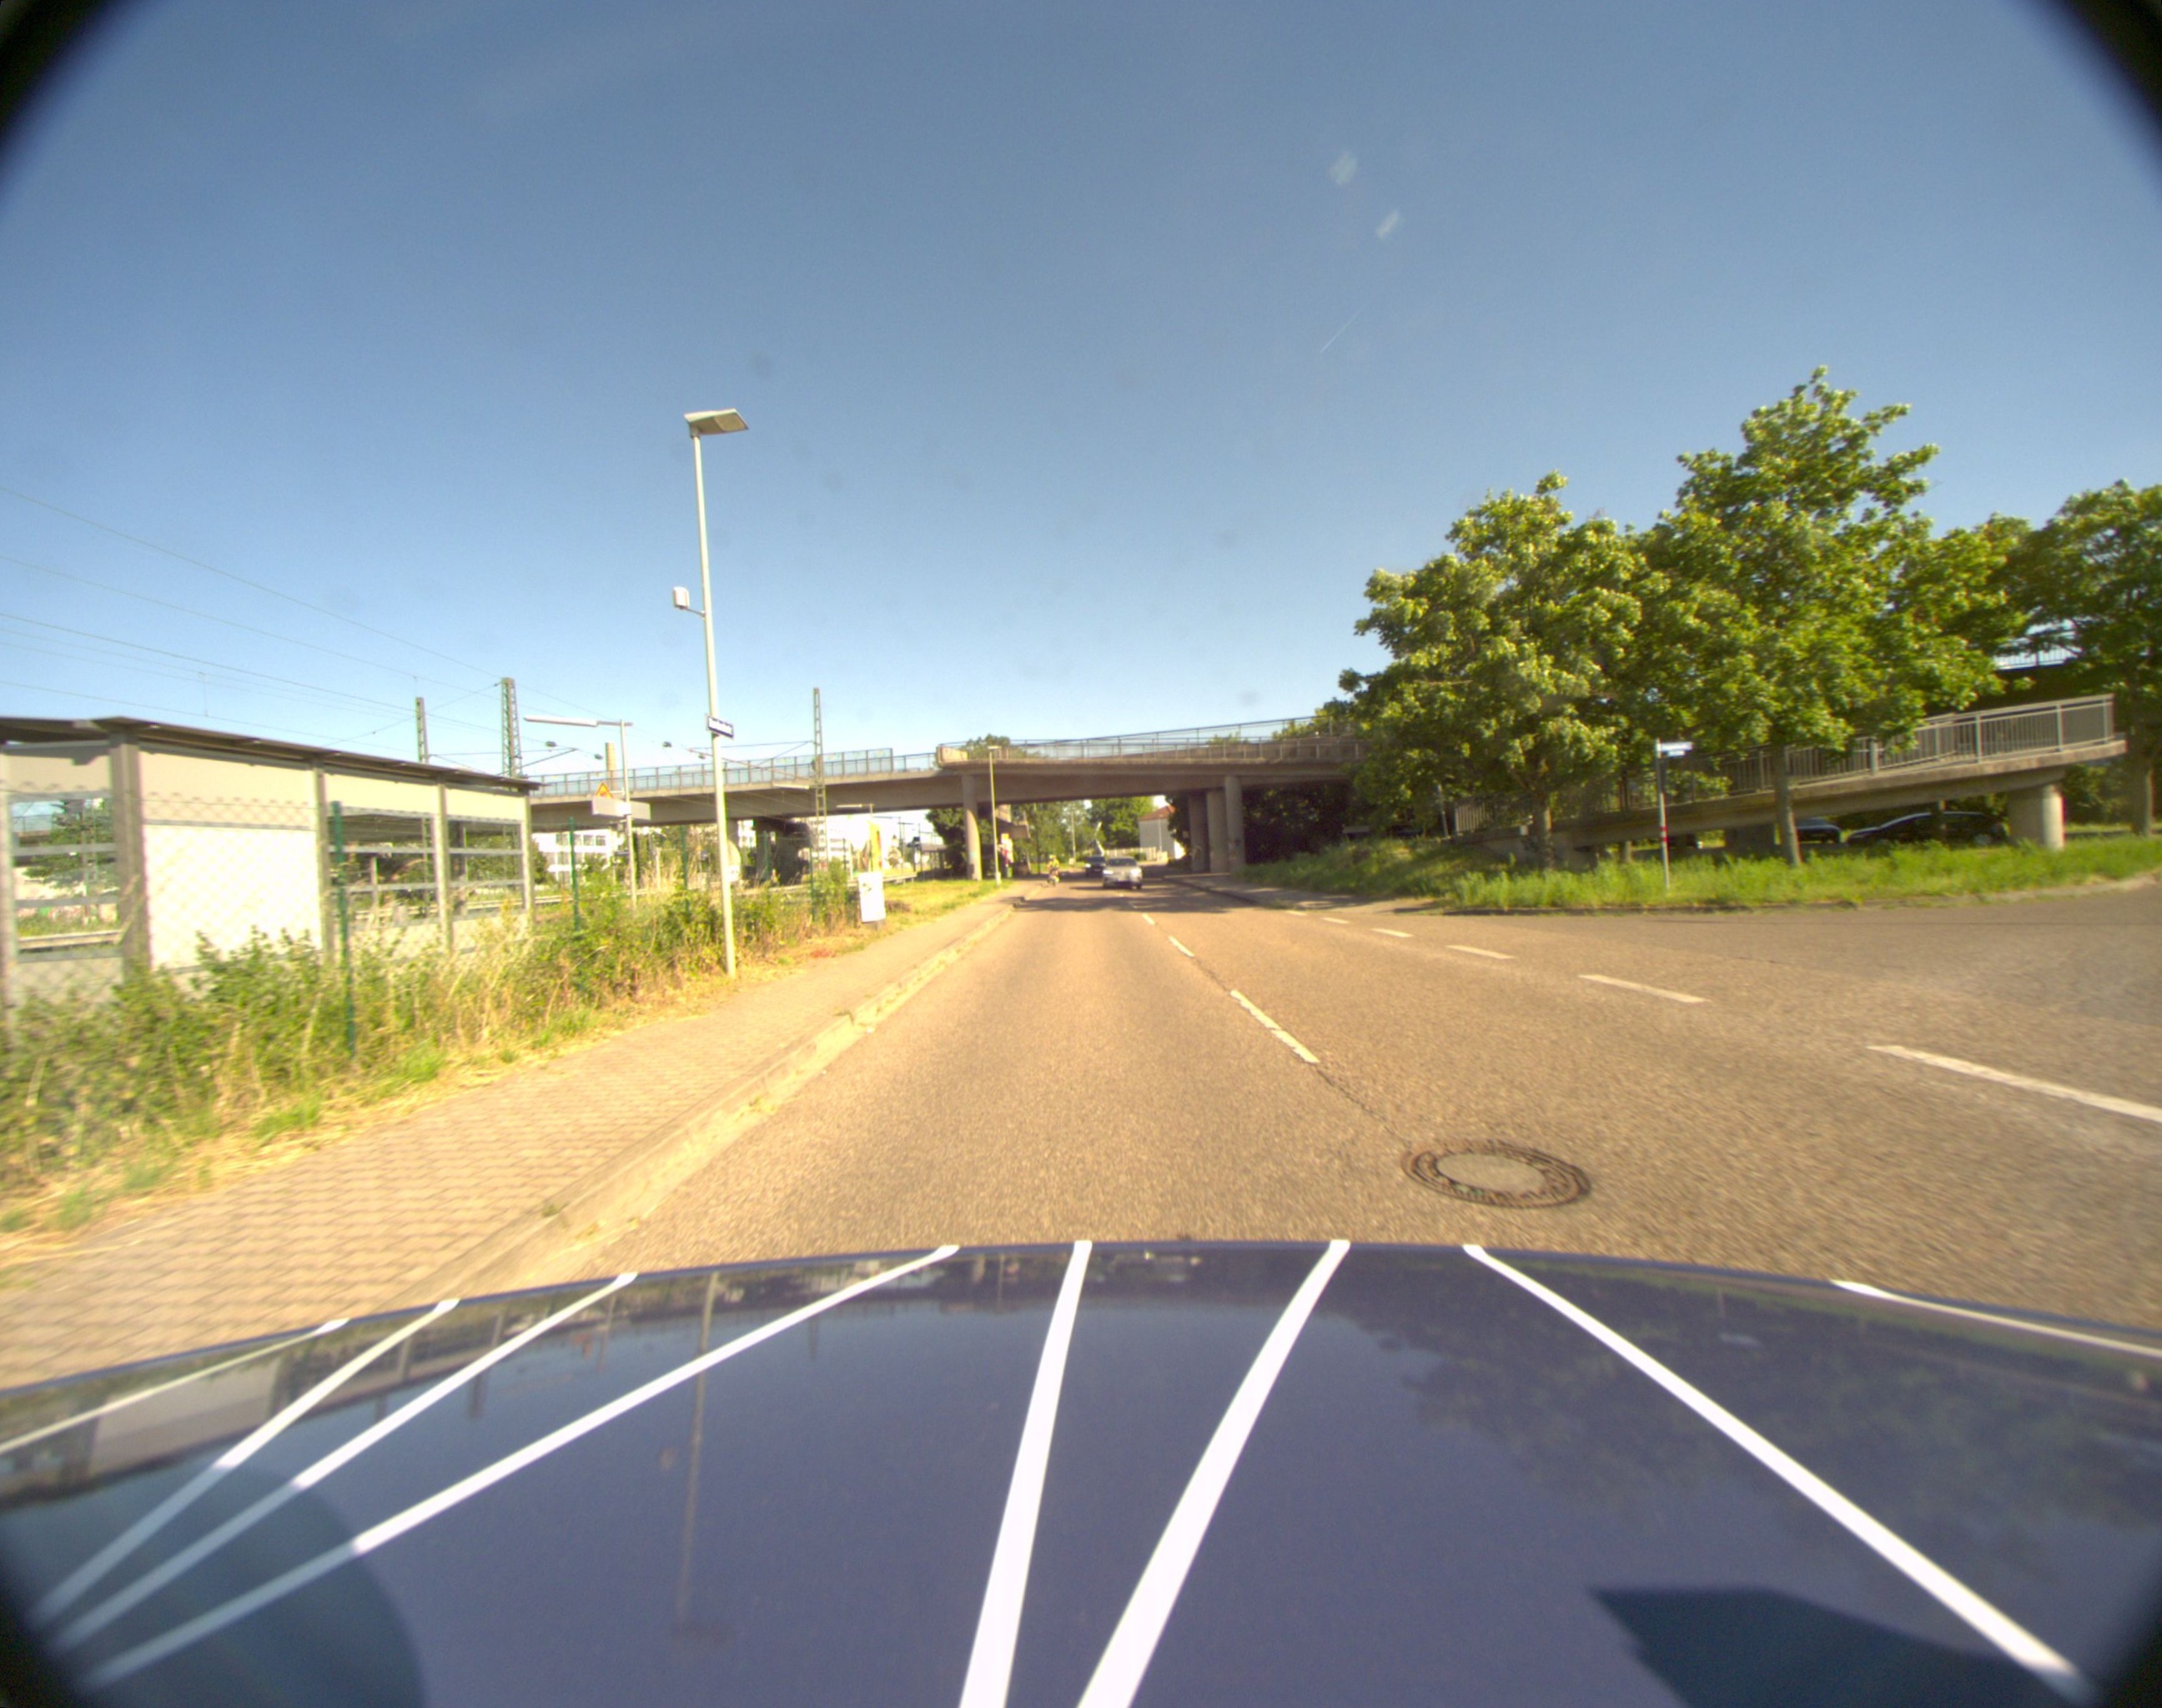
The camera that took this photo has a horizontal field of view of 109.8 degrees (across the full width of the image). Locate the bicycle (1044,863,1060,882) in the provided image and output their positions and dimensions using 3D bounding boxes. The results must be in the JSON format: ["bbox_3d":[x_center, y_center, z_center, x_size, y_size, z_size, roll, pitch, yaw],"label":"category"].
[{"bbox_3d":[-1.745,1.119,45.722,0.843,1.045,2.189,-3,0,-2],"label":"bicycle"}]

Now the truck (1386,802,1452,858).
[{"bbox_3d":[23.508,-1.686,52.628,2.476,3.531,7.982,-2,1,36],"label":"truck"}]

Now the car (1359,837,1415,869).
[{"bbox_3d":[16.423,-0.112,40.705,1.864,1.632,4.290,1,2,34],"label":"car"}]

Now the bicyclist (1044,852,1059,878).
[{"bbox_3d":[-1.763,0.650,45.626,0.843,1.480,0.923,-3,1,-2],"label":"bicyclist"}]

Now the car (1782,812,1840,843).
[{"bbox_3d":[38.293,-1.416,39.923,1.735,1.434,4.258,-3,1,38],"label":"car"}]

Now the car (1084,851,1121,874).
[{"bbox_3d":[1.725,0.658,59.805,1.848,1.621,4.300,-3,1,16],"label":"car"}]

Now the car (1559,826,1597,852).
[{"bbox_3d":[30.027,-0.928,45.869,1.736,1.434,4.258,-3,1,35],"label":"car"}]

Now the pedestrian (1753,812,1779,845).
[{"bbox_3d":[35.362,-1.330,39.227,0.668,1.653,0.711,-3,1,11],"label":"pedestrian"}]

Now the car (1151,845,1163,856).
[{"bbox_3d":[13.053,-0.585,130.481,1.998,1.767,4.367,-3,0,6],"label":"car"}]

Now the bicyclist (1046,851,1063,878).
[{"bbox_3d":[-1.469,0.573,42.035,0.843,1.480,0.923,-3,1,-1],"label":"bicyclist"}]

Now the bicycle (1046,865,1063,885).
[{"bbox_3d":[-1.441,1.153,42.112,0.843,1.045,2.189,-3,0,-1],"label":"bicycle"}]

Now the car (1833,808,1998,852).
[{"bbox_3d":[34.016,-0.963,31.162,4.287,1.543,1.687,-3,1,36],"label":"car"}]

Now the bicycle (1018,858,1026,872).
[{"bbox_3d":[-5.137,0.958,66.150,0.599,1.175,2.180,-2,1,-5],"label":"bicycle"}]

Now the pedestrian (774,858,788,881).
[{"bbox_3d":[-26.720,1.356,67.669,0.895,2.002,0.835,-3,1,-2],"label":"pedestrian"}]

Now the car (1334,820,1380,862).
[{"bbox_3d":[19.143,-0.892,52.509,1.942,2.665,6.020,-3,0,30],"label":"car"}]

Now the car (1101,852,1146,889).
[{"bbox_3d":[2.020,0.766,37.235,1.850,1.621,4.294,-2,0,0],"label":"car"}]

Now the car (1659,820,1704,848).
[{"bbox_3d":[34.237,-1.161,43.403,1.736,1.434,4.258,-3,1,35],"label":"car"}]
